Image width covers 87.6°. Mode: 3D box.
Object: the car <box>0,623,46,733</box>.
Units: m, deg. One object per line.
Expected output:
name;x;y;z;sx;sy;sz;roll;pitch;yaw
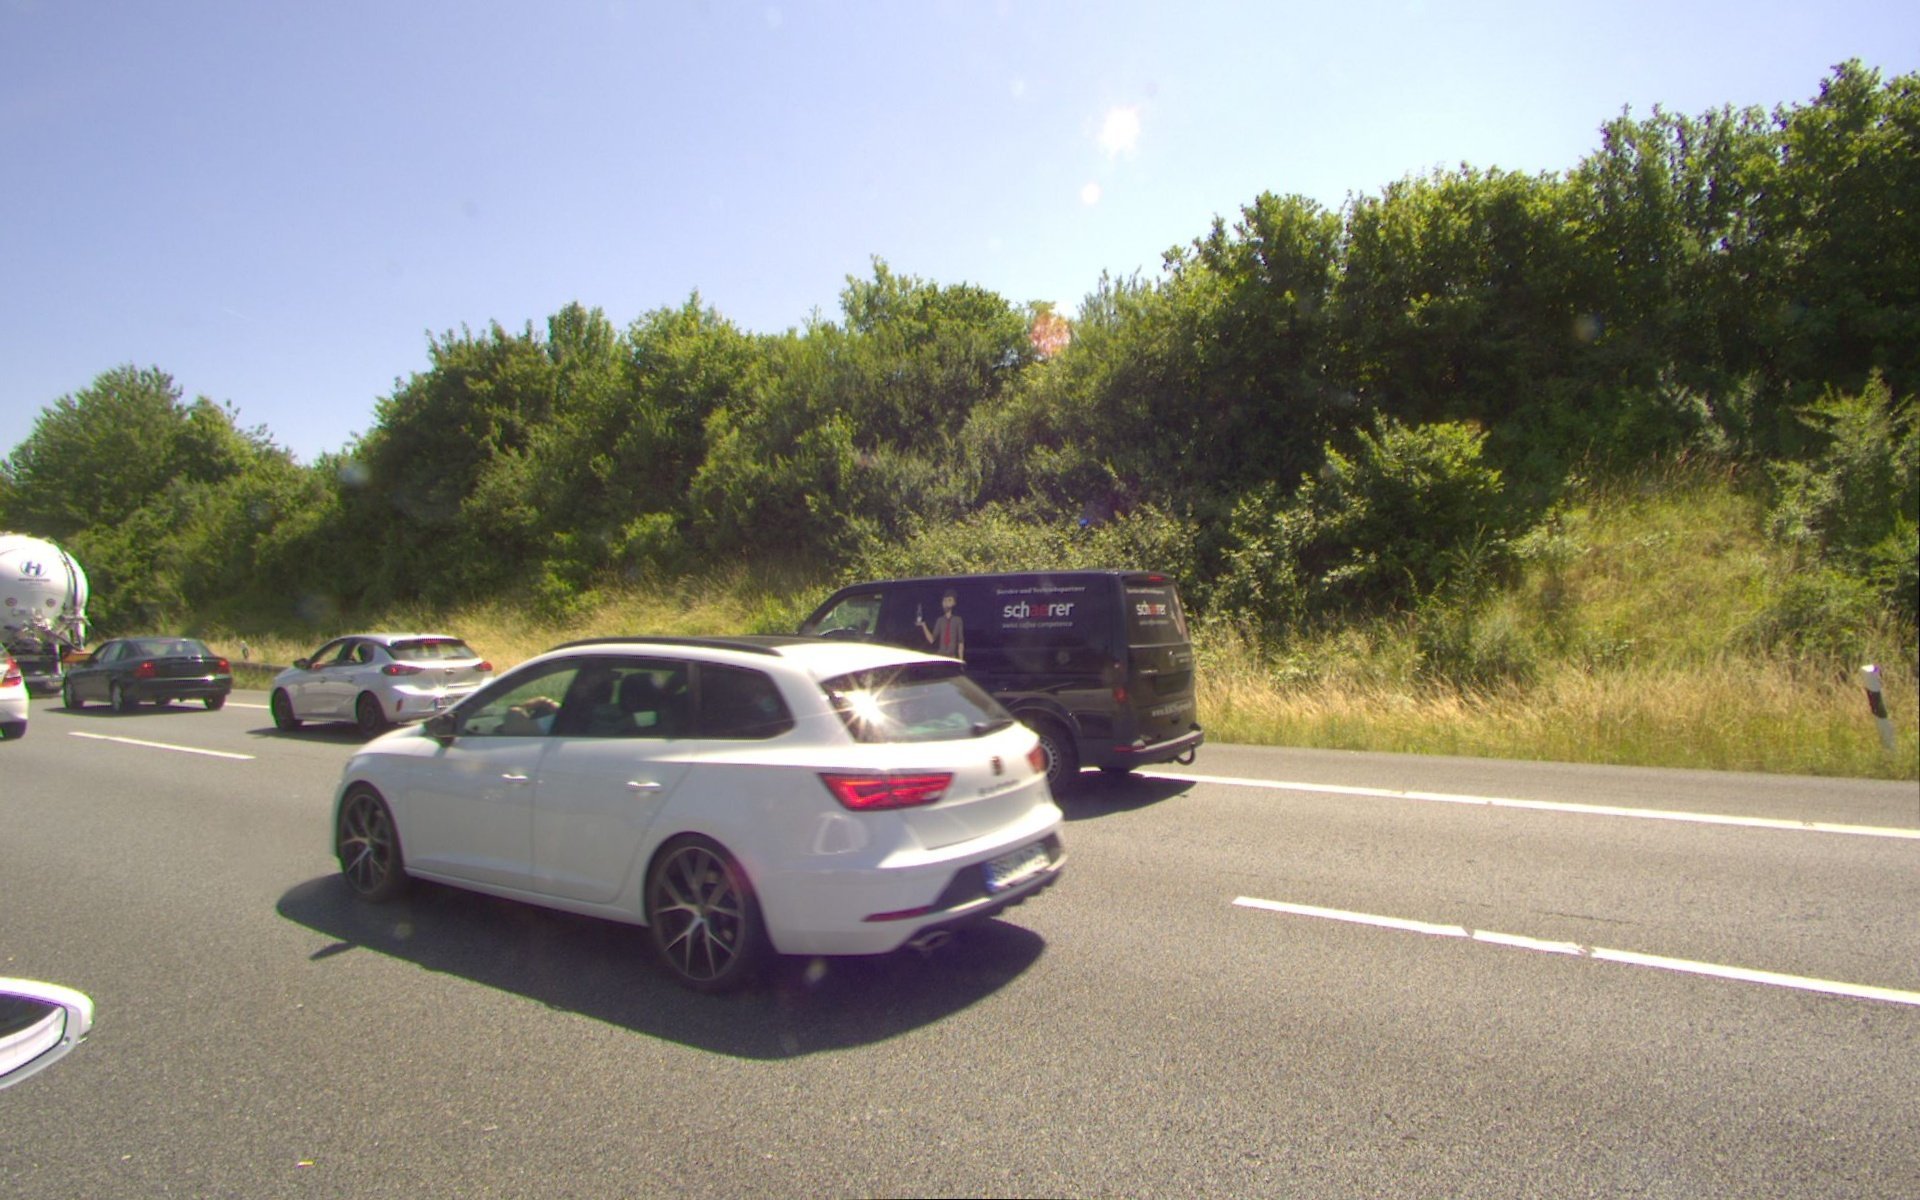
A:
car;-14.968;1.122;14.419;3.946;1.504;1.812;-2;-1;34

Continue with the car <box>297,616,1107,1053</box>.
car;-1.545;0.866;5.282;4.254;1.462;1.743;-2;-1;34

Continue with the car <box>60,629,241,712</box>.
car;-15.942;1.345;19.666;3.934;1.435;1.637;-2;0;34

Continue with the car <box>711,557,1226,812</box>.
car;-0.051;0.732;9.836;4.790;1.965;1.909;-2;-1;34

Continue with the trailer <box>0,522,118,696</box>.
trailer;-25.912;0.316;26.124;11.323;3.895;2.755;-1;-1;32

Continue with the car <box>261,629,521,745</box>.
car;-8.525;1.195;14.931;3.971;1.462;1.727;0;0;33
